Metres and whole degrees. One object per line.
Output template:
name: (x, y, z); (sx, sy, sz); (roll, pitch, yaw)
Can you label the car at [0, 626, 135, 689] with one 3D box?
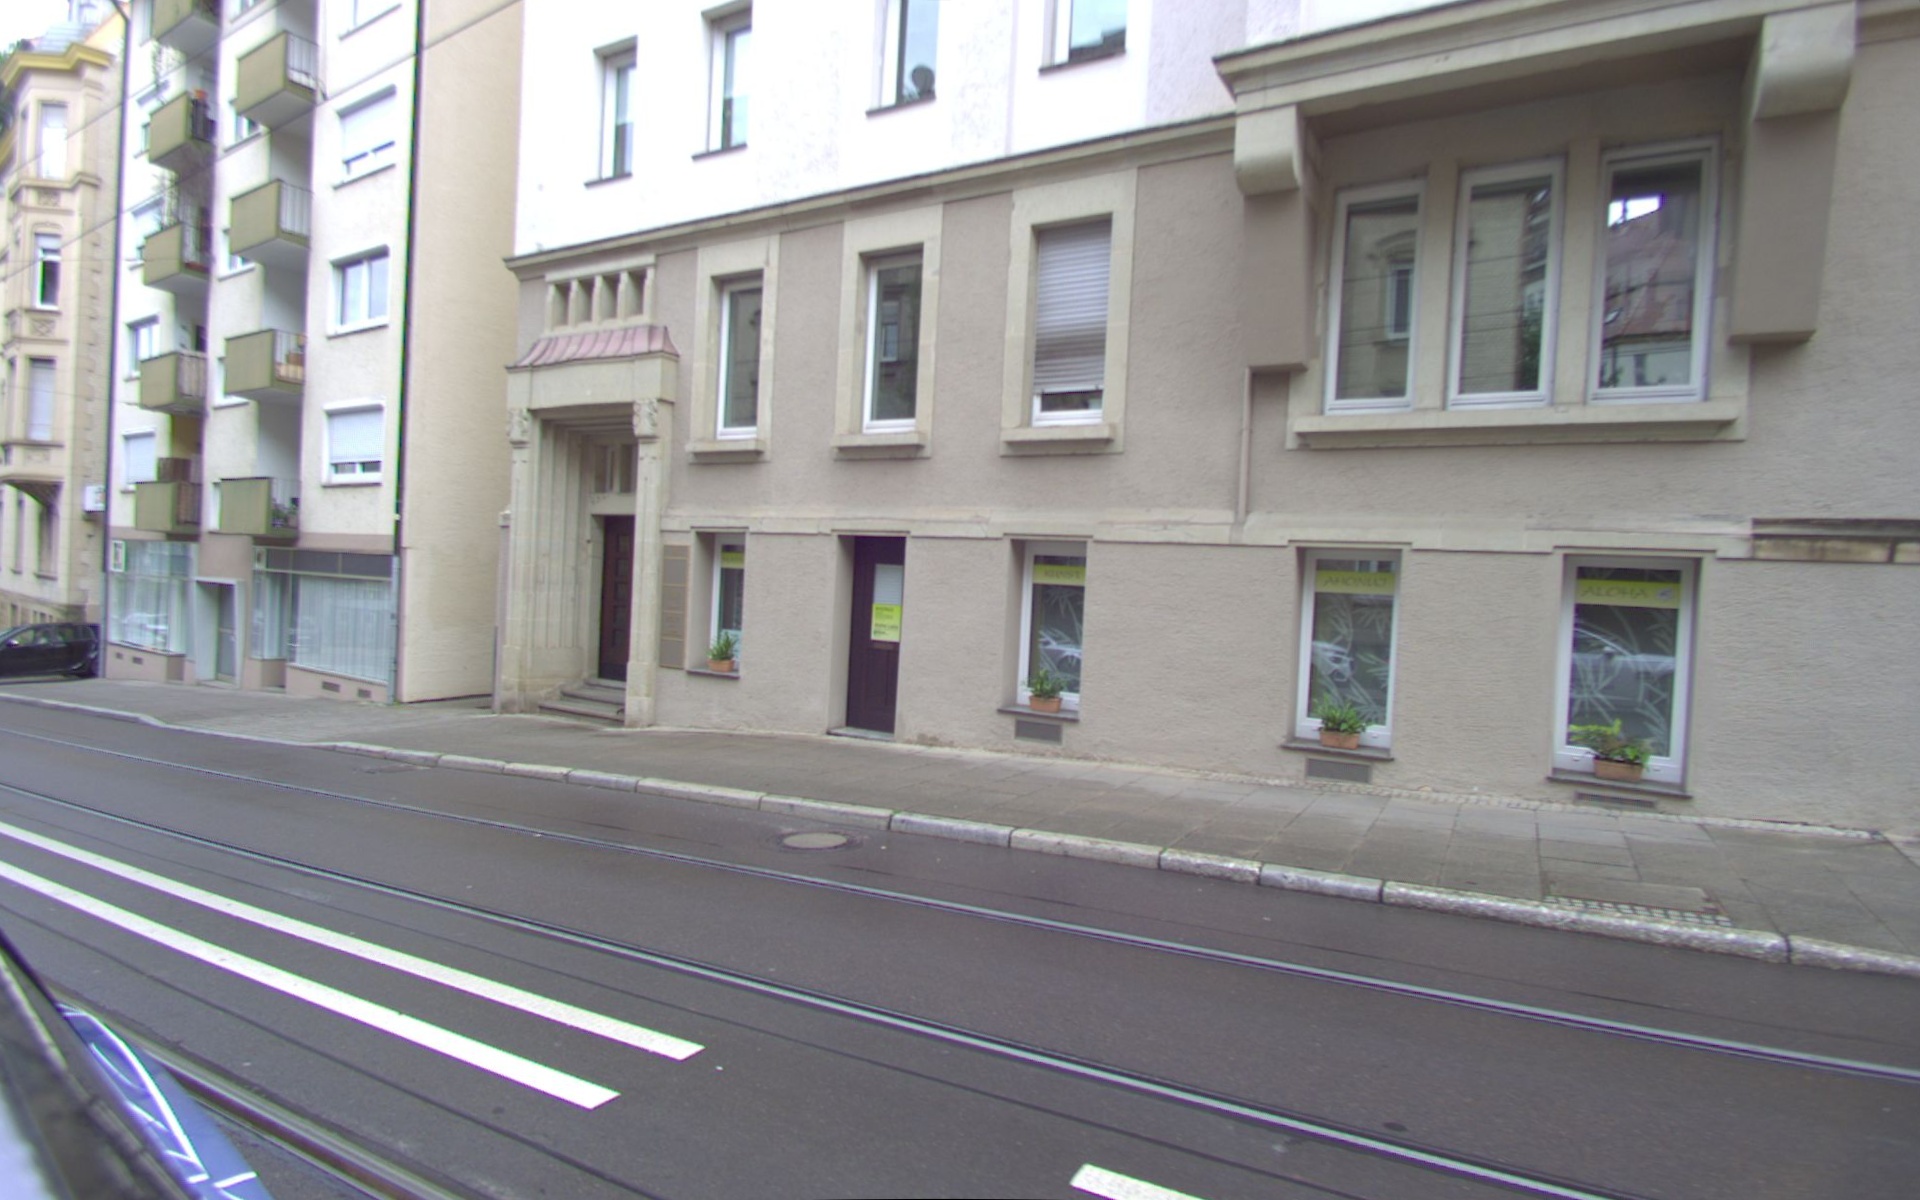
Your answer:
car: (-22.985, 1.391, 24.820); (1.736, 1.465, 3.953); (-1, -1, 35)
